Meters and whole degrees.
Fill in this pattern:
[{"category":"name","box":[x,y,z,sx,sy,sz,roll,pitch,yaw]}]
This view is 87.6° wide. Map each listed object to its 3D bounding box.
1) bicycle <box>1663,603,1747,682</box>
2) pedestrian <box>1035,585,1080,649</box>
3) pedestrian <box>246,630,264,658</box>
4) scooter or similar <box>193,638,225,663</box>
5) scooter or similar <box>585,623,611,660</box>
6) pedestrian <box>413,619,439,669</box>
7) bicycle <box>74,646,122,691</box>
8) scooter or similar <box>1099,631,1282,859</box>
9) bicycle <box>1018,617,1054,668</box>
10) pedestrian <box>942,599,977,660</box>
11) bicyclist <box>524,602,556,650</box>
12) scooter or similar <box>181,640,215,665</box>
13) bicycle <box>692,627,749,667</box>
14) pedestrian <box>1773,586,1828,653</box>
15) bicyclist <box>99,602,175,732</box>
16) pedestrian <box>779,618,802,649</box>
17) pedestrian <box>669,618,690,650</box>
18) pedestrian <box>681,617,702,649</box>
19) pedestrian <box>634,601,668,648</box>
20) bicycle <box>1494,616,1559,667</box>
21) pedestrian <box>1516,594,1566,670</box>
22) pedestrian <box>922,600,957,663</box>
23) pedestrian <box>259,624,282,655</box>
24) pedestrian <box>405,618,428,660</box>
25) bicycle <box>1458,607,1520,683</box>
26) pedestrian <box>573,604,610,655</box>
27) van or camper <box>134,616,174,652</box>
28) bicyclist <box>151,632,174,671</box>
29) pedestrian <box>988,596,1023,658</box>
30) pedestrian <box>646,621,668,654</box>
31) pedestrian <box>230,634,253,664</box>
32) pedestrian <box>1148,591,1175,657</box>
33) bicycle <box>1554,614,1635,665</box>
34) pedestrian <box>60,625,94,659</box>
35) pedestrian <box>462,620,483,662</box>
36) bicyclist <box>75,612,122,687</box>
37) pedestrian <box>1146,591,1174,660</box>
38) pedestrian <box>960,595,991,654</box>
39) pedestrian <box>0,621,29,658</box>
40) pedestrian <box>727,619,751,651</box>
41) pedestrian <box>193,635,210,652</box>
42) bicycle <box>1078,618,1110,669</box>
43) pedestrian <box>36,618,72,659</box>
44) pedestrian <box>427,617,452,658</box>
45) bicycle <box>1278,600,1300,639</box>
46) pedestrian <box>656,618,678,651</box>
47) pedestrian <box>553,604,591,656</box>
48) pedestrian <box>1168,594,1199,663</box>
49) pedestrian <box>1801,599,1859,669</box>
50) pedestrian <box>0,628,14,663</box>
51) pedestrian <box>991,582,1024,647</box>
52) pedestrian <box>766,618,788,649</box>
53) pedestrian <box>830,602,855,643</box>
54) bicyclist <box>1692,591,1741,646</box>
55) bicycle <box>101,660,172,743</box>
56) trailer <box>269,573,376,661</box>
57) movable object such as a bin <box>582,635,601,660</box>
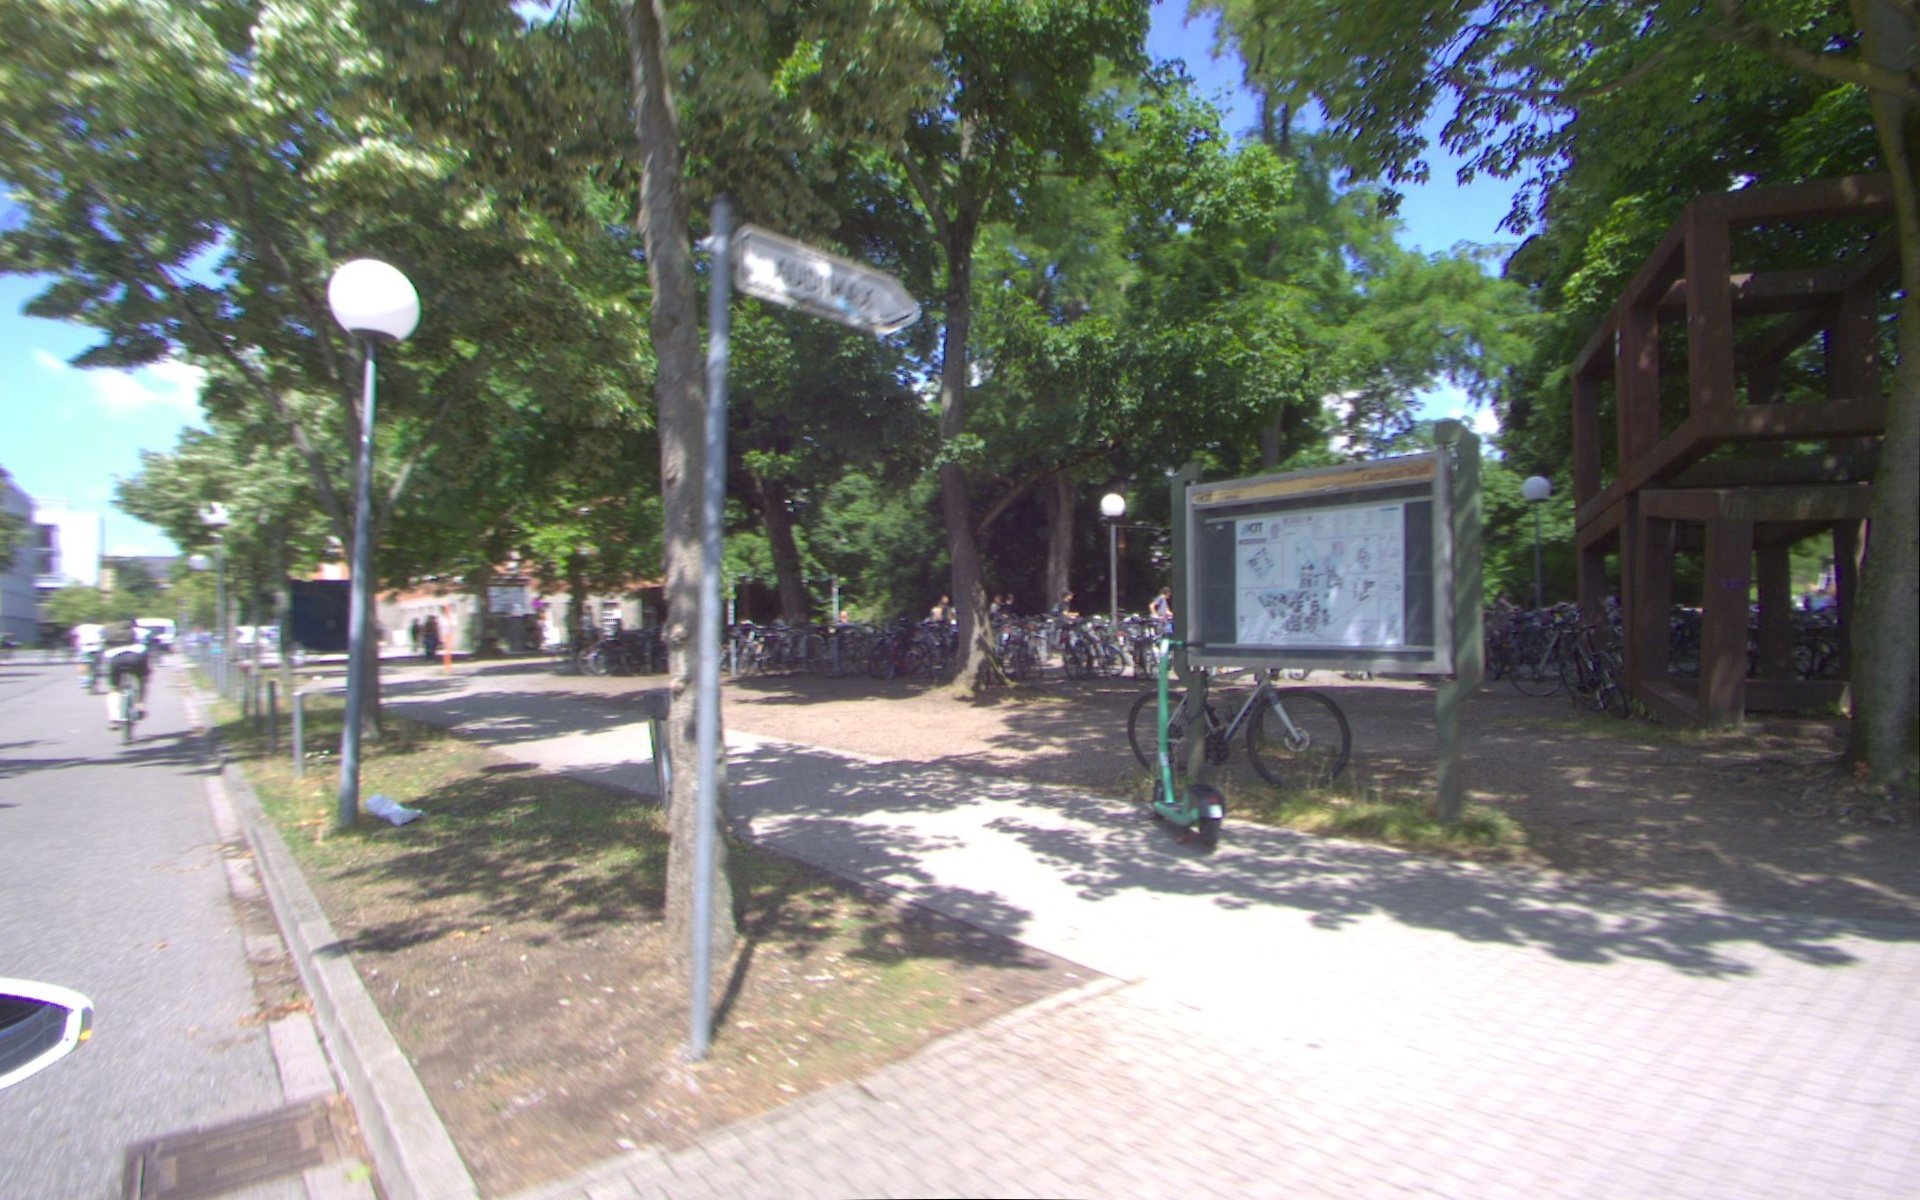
[{"category":"bicycle","box":[11.835,0.652,15.965,0.428,1.185,1.843,-1,-1,16]},{"category":"pedestrian","box":[2.781,0.478,28.588,0.958,1.798,0.959,-1,0,30]},{"category":"pedestrian","box":[-43.467,2.699,61.760,0.561,1.654,0.501,-2,6,16]},{"category":"scooter or similar","box":[-40.318,2.720,53.759,1.240,1.281,0.639,-1,-1,-7]},{"category":"scooter or similar","box":[-12.251,1.403,33.871,0.420,1.234,1.285,0,-2,-38]},{"category":"pedestrian","box":[-17.345,1.439,32.512,0.563,1.591,0.920,-2,-1,-38]},{"category":"bicycle","box":[-20.918,1.645,24.325,0.802,1.015,2.107,-1,-1,-39]},{"category":"scooter or similar","box":[1.303,0.772,5.893,0.488,1.129,1.360,-1,1,-14]},{"category":"bicycle","box":[1.796,0.971,23.377,0.470,1.097,1.902,-2,-1,15]},{"category":"pedestrian","box":[-0.017,0.866,29.665,0.713,1.798,0.738,0,0,43]},{"category":"bicyclist","box":[-15.814,0.973,37.678,1.063,1.752,0.528,-1,1,31]},{"category":"scooter or similar","box":[-39.725,2.730,52.221,1.240,1.281,0.650,-1,-1,-7]},{"category":"bicycle","box":[-7.374,1.431,30.884,0.472,1.158,1.894,-2,-1,32]},{"category":"pedestrian","box":[20.397,0.469,24.306,0.707,1.590,0.745,0,0,-2]},{"category":"bicyclist","box":[-11.147,0.897,13.579,0.712,1.683,1.086,3,-3,-39]},{"category":"pedestrian","box":[-7.197,1.414,42.508,0.661,1.288,0.616,-4,2,-43]},{"category":"pedestrian","box":[-12.071,1.460,43.065,0.565,1.365,0.722,-4,2,-43]},{"category":"pedestrian","box":[-11.651,1.435,43.457,0.565,1.365,0.722,-4,2,-43]},{"category":"pedestrian","box":[-12.024,0.948,38.955,0.910,1.798,0.953,0,0,43]},{"category":"bicycle","box":[11.700,0.833,20.731,0.469,0.991,1.903,-2,-1,8]},{"category":"pedestrian","box":[13.980,0.757,24.107,0.708,1.798,0.743,-1,0,-15]},{"category":"pedestrian","box":[-0.592,0.907,28.970,0.713,1.798,0.738,0,0,43]},{"category":"pedestrian","box":[-43.172,2.465,62.713,0.739,1.814,0.708,-2,6,16]},{"category":"pedestrian","box":[-22.562,1.613,41.572,0.691,1.682,0.782,-1,-1,-39]},{"category":"bicycle","box":[8.819,0.728,16.750,0.406,1.185,1.844,-1,-1,12]},{"category":"pedestrian","box":[-14.458,1.148,39.325,1.063,1.975,0.831,-1,1,31]},{"category":"van or camper","box":[-58.651,2.518,72.915,1.975,2.477,4.540,-1,-2,-36]},{"category":"bicyclist","box":[-36.740,2.356,46.148,0.801,1.778,0.687,1,-2,-38]},{"category":"pedestrian","box":[1.359,0.801,29.850,0.713,1.798,0.738,0,0,43]},{"category":"pedestrian","box":[-13.104,1.620,43.310,0.565,1.365,0.722,-4,2,-43]},{"category":"pedestrian","box":[-42.758,2.914,59.590,0.948,1.716,0.701,5,-1,-29]},{"category":"pedestrian","box":[5.529,0.658,27.502,0.707,1.798,0.744,0,0,11]},{"category":"bicycle","box":[12.944,0.790,20.483,0.469,0.991,1.904,-2,-1,2]},{"category":"pedestrian","box":[-42.933,2.042,48.692,0.814,1.616,0.850,-1,0,8]},{"category":"pedestrian","box":[-21.614,1.797,44.417,0.590,1.821,0.721,-3,3,-42]},{"category":"bicyclist","box":[-20.848,1.200,24.238,0.765,1.778,0.842,3,-3,-39]},{"category":"pedestrian","box":[5.332,0.679,26.715,0.707,1.798,0.744,0,0,11]},{"category":"pedestrian","box":[0.476,0.760,31.330,0.709,1.798,0.742,0,0,26]},{"category":"pedestrian","box":[-46.727,1.939,49.393,0.977,1.739,0.703,-2,-5,-23]},{"category":"pedestrian","box":[-9.644,1.517,43.705,0.661,1.365,0.712,-4,2,-43]},{"category":"pedestrian","box":[-96.115,5.458,126.878,1.487,2.023,1.632,-4,2,-40]},{"category":"bicycle","box":[3.084,0.984,22.992,0.470,1.097,1.902,-2,-1,15]},{"category":"pedestrian","box":[-45.154,1.909,49.888,1.095,1.886,0.853,4,4,13]},{"category":"pedestrian","box":[-21.872,1.580,42.050,0.759,1.682,0.818,-1,-1,-39]},{"category":"bicycle","box":[9.633,0.556,29.358,0.470,1.108,1.610,-2,-1,14]},{"category":"pedestrian","box":[-12.493,1.473,42.673,0.565,1.365,0.722,-4,2,-43]},{"category":"pedestrian","box":[-14.931,1.158,38.510,1.063,1.975,0.831,-1,1,31]},{"category":"pedestrian","box":[5.932,0.747,26.527,0.708,1.798,0.743,0,0,20]},{"category":"pedestrian","box":[20.359,0.788,23.453,0.707,1.590,0.745,0,0,3]},{"category":"pedestrian","box":[-49.079,2.326,51.137,0.891,1.761,0.679,0,-1,-1]},{"category":"pedestrian","box":[1.334,0.401,27.923,0.708,1.798,0.743,0,0,20]},{"category":"pedestrian","box":[-7.858,1.435,43.061,0.661,1.288,0.616,-4,2,-43]},{"category":"pedestrian","box":[-4.771,0.903,40.619,0.661,1.603,0.712,-4,2,-43]},{"category":"bicyclist","box":[20.403,0.505,27.020,0.788,1.465,0.744,0,0,8]},{"category":"bicycle","box":[-11.176,1.336,13.613,0.701,1.006,1.895,0,-2,-39]},{"category":"trailer","box":[-24.460,0.687,38.296,2.670,3.091,6.207,-1,-1,-40]},{"category":"movable object such as a bin","box":[-16.675,2.147,45.301,0.594,1.084,0.737,0,-3,-38]}]
